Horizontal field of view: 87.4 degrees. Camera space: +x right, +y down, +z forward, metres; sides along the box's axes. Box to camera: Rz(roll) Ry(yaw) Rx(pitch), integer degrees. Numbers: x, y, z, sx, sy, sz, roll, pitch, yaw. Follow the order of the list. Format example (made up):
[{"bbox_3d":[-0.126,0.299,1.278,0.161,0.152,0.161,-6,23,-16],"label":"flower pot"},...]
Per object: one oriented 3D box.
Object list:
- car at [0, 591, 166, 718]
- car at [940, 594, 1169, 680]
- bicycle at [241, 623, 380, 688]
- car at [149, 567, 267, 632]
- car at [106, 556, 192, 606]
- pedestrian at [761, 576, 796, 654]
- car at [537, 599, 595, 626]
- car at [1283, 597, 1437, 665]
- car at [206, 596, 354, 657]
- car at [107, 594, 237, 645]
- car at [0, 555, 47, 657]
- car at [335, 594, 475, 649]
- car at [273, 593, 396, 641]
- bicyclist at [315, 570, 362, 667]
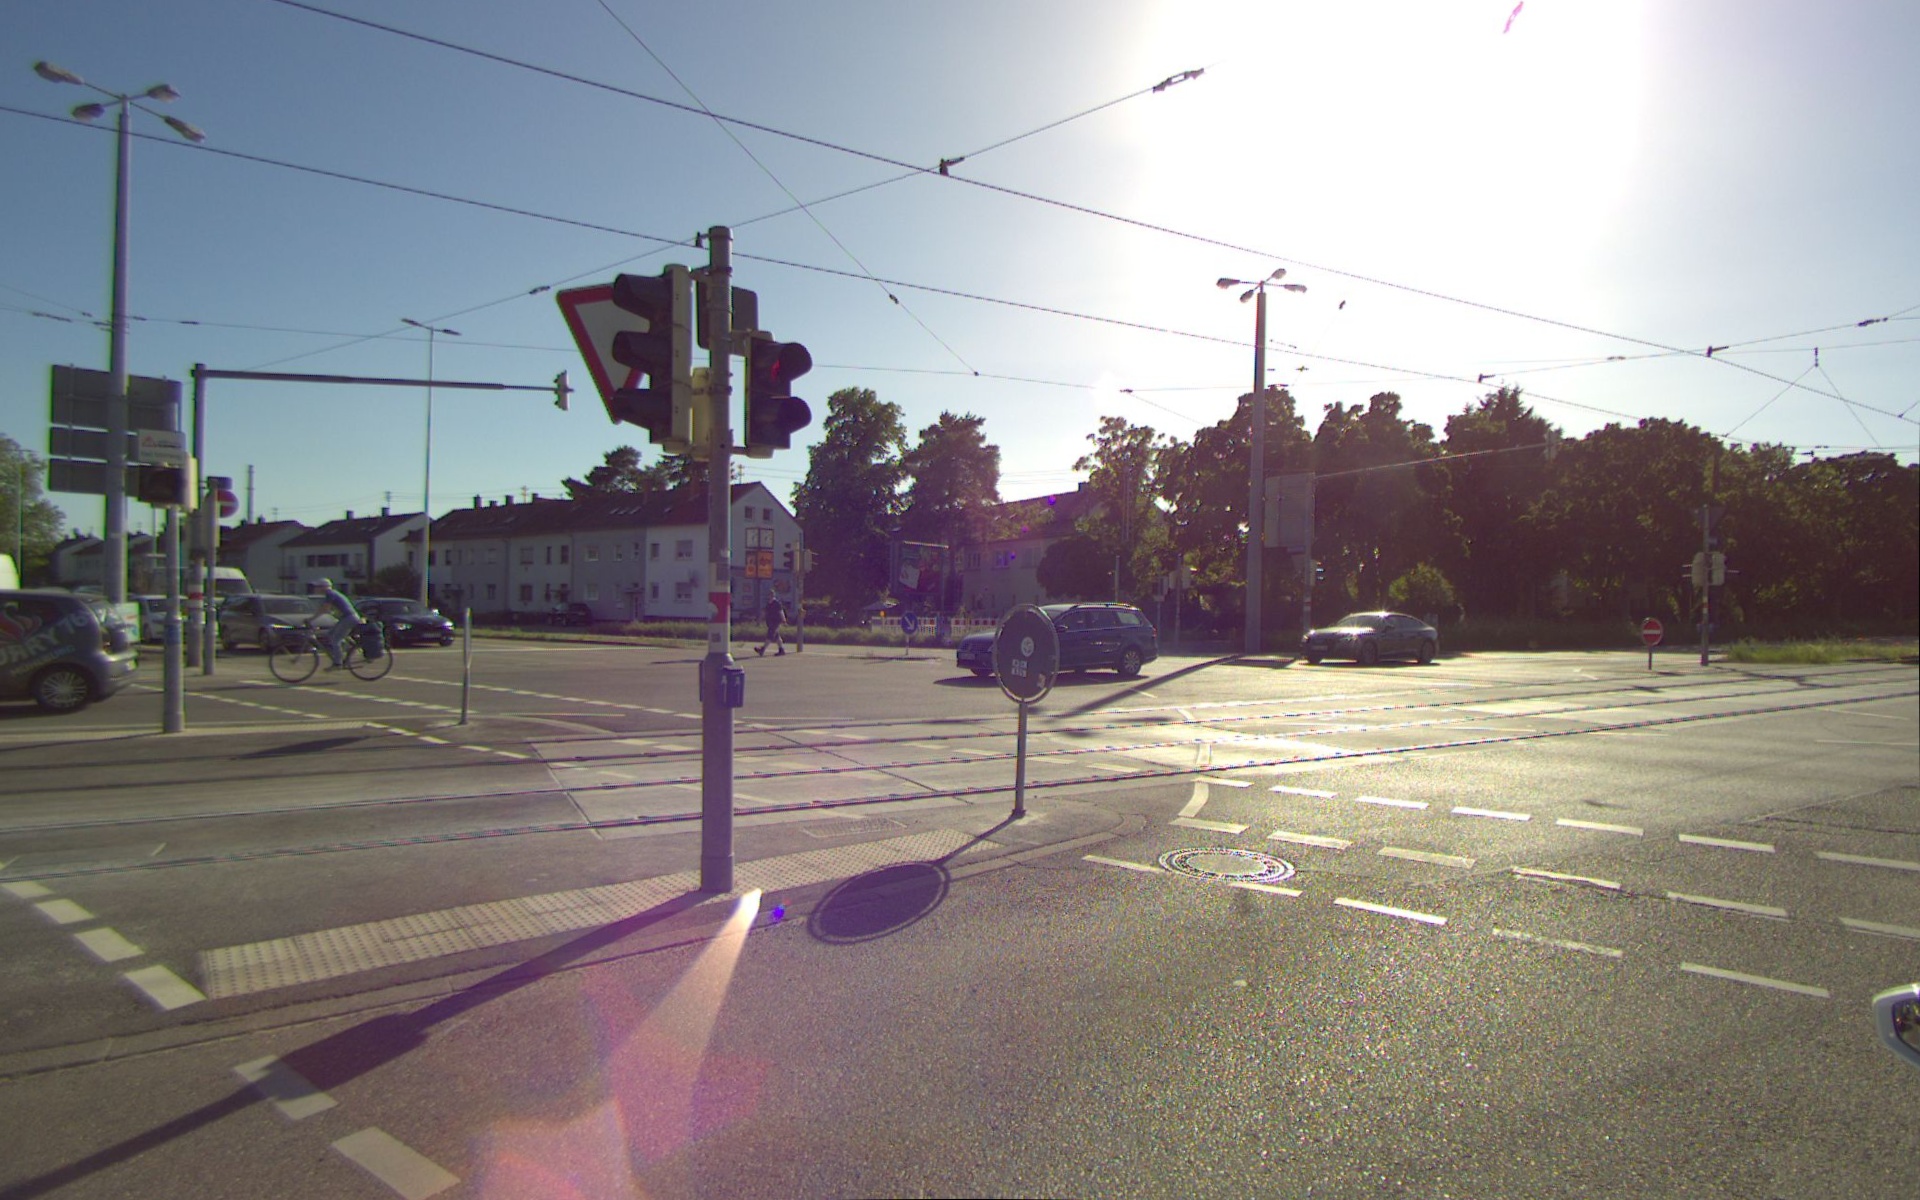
[{"bbox_3d":[-12.061,0.627,12.137,3.662,1.478,1.674,1,-1,-32],"label":"car"},{"bbox_3d":[2.018,0.726,20.851,4.644,1.617,1.802,1,0,-34],"label":"car"},{"bbox_3d":[-10.975,0.928,17.047,1.925,1.056,0.505,1,0,-30],"label":"bicycle"},{"bbox_3d":[-30.285,-0.027,40.405,5.825,2.443,2.173,0,-1,36],"label":"car"},{"bbox_3d":[-35.254,-0.794,43.659,3.932,2.040,1.803,0,-1,34],"label":"car"},{"bbox_3d":[-4.729,0.387,26.159,0.599,1.974,0.776,1,0,18],"label":"pedestrian"},{"bbox_3d":[-27.493,0.836,70.079,3.934,1.785,1.993,0,0,35],"label":"car"},{"bbox_3d":[10.803,0.816,27.101,3.953,1.710,1.783,1,-1,-30],"label":"car"},{"bbox_3d":[-18.129,0.659,26.718,4.558,1.497,1.668,1,0,34],"label":"car"},{"bbox_3d":[-24.473,0.568,31.156,4.292,1.486,1.933,0,-1,34],"label":"car"},{"bbox_3d":[-24.017,0.124,23.247,2.317,2.490,6.827,1,-1,-25],"label":"car"},{"bbox_3d":[-16.364,0.593,29.576,4.177,1.486,1.932,1,0,34],"label":"car"},{"bbox_3d":[-20.616,0.515,33.066,4.187,1.486,1.932,1,1,34],"label":"car"},{"bbox_3d":[-10.659,0.320,17.235,0.641,1.630,0.487,1,0,-29],"label":"bicyclist"}]
